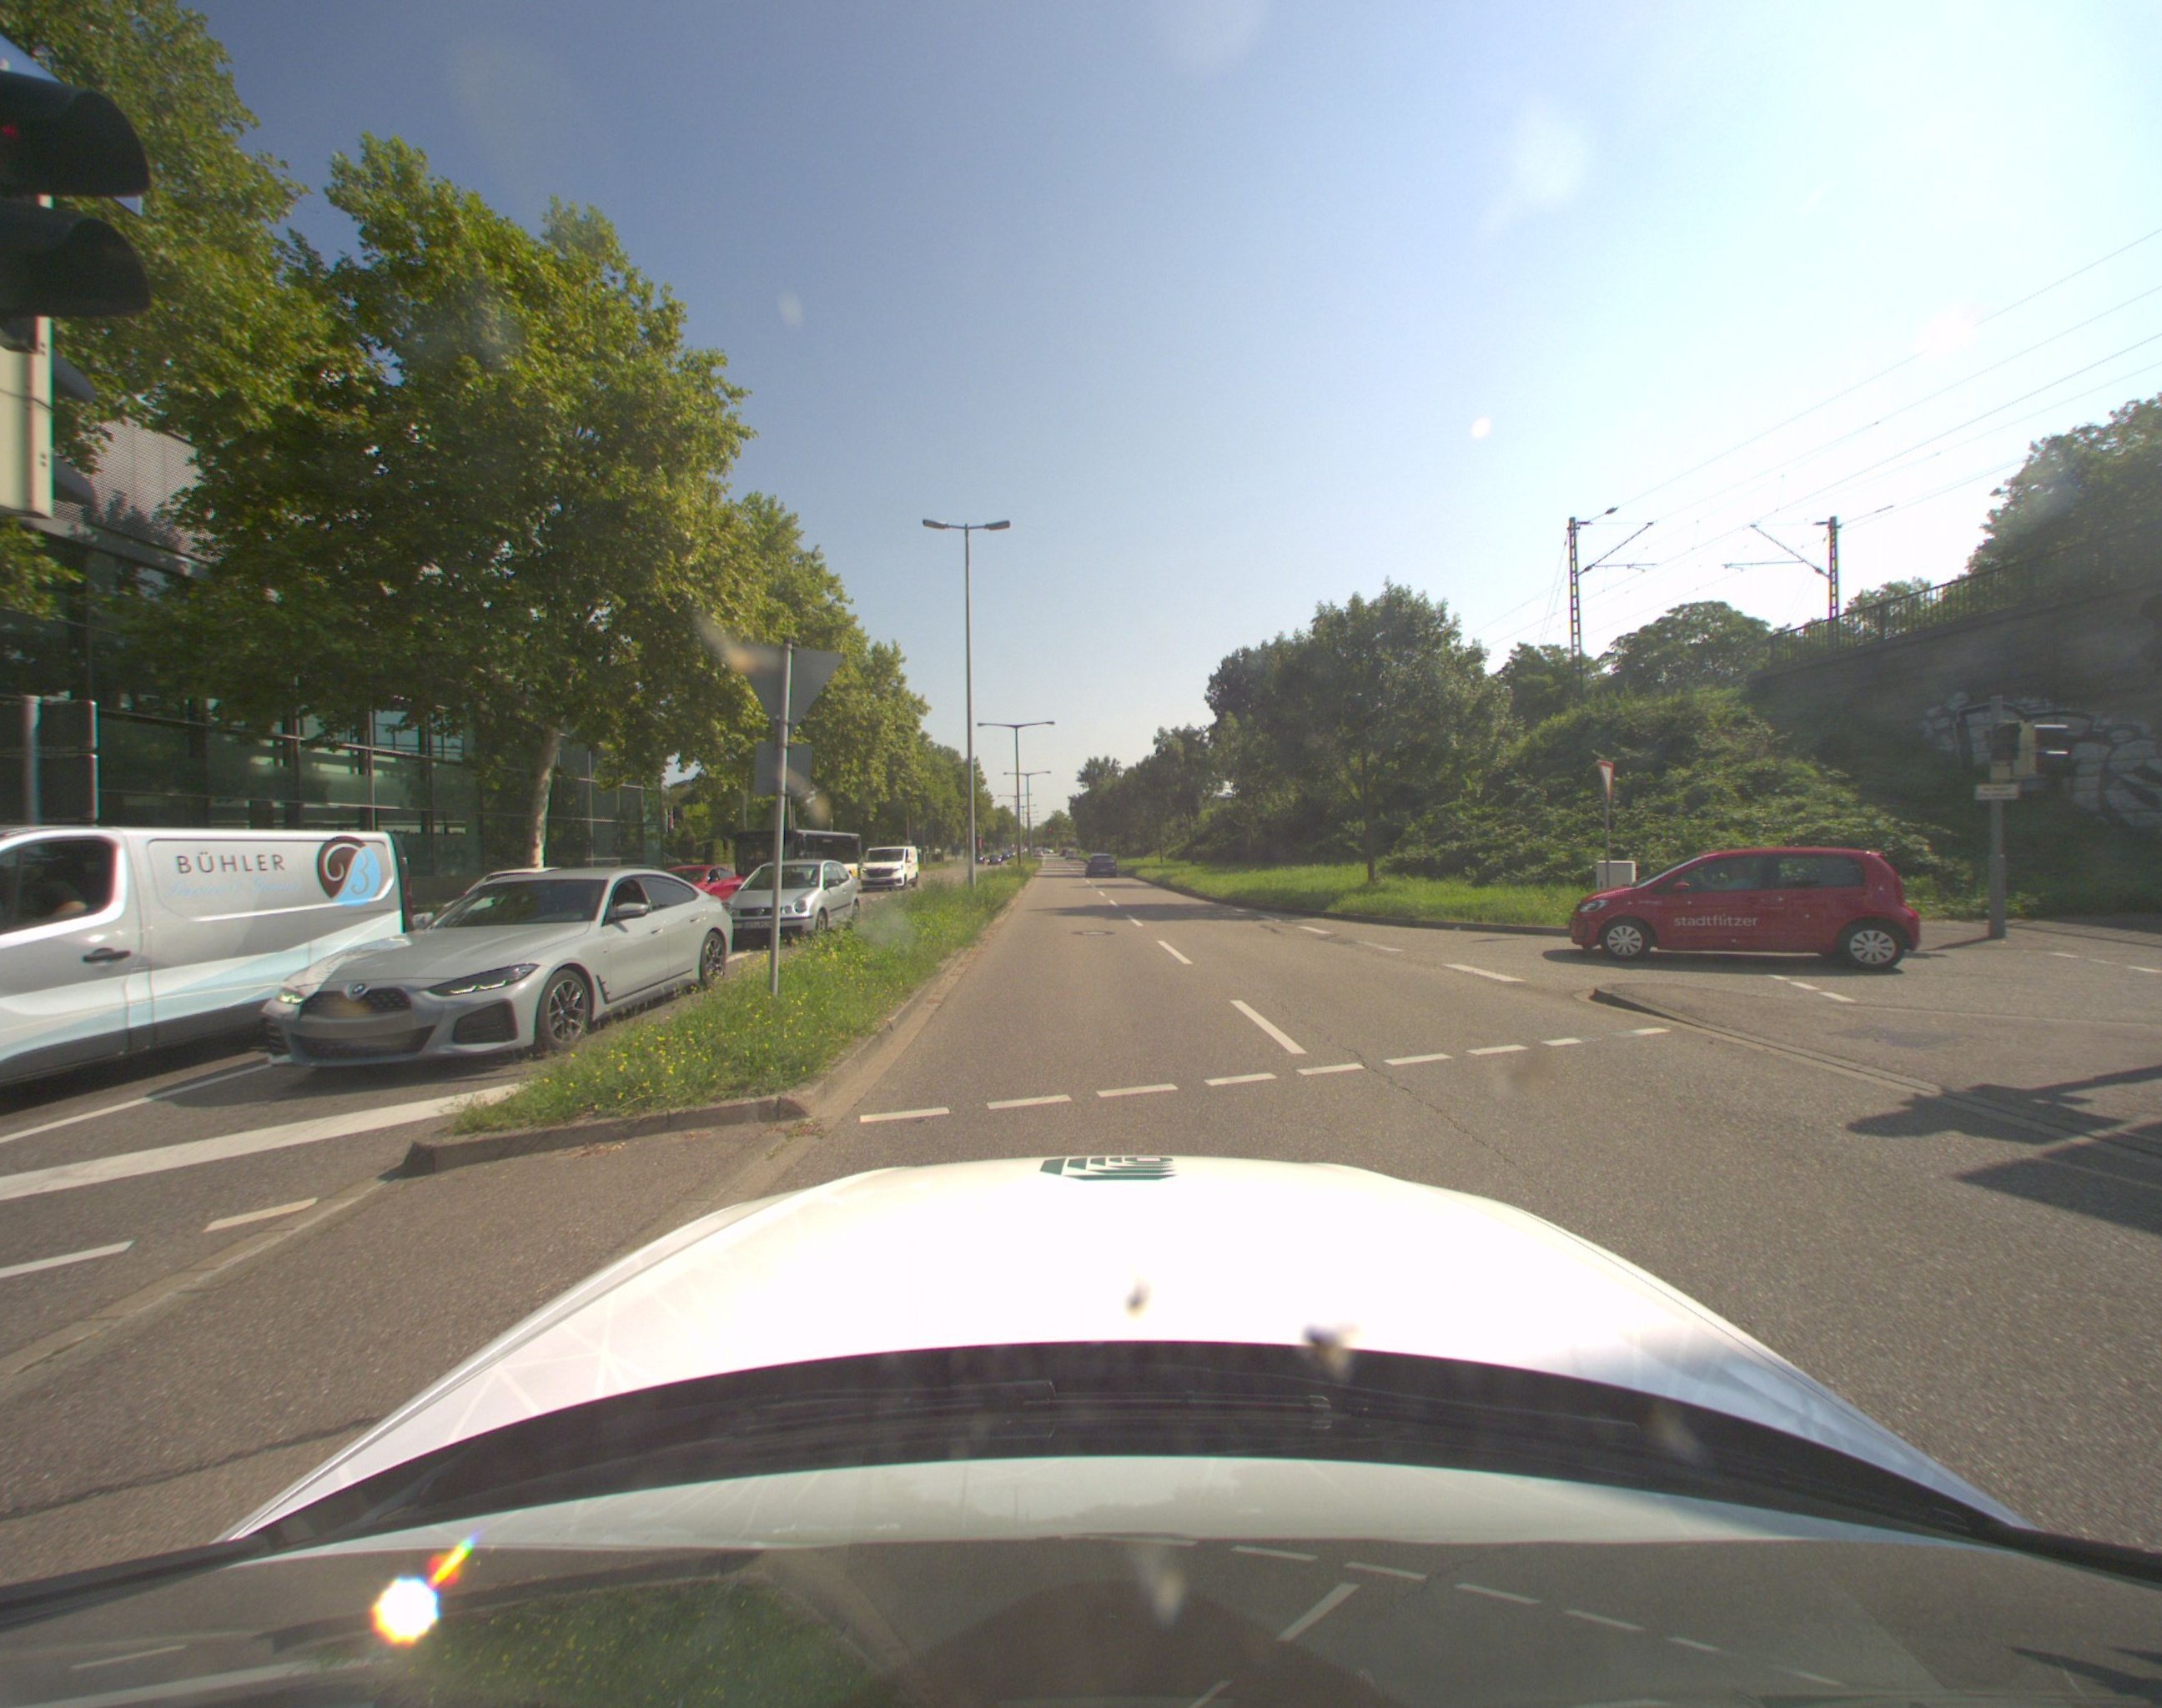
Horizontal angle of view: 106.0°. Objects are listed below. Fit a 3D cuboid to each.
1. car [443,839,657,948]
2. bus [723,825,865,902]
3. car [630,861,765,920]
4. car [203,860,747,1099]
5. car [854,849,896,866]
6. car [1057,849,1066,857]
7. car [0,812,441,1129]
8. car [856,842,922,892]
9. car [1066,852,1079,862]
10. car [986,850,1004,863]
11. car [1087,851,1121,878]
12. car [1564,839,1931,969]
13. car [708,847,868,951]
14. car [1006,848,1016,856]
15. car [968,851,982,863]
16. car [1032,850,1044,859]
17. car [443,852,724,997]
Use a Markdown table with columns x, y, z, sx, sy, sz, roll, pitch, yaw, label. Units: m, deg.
| x | y | z | sx | sy | sz | roll | pitch | yaw | label |
| --- | --- | --- | --- | --- | --- | --- | --- | --- | --- |
| -10.774 | 0.731 | 16.931 | 1.923 | 1.895 | 3.971 | -3 | 0 | -4 | car |
| -12.024 | 0.360 | 35.472 | 2.655 | 2.694 | 10.895 | -3 | 0 | -3 | bus |
| -11.480 | 1.017 | 24.828 | 1.775 | 1.511 | 5.207 | -3 | 0 | -3 | car |
| -4.981 | 0.848 | 7.755 | 1.831 | 1.443 | 4.601 | -3 | 0 | -3 | car |
| -30.245 | 0.517 | 119.602 | 5.574 | 2.336 | 2.276 | 0 | 2 | -5 | car |
| -4.520 | -0.232 | 186.898 | 1.989 | 1.654 | 3.995 | 1 | 0 | -4 | car |
| -7.717 | 0.725 | 6.086 | 1.923 | 1.957 | 5.206 | -2 | 1 | -4 | car |
| -8.624 | 0.511 | 36.991 | 1.923 | 1.960 | 5.184 | -3 | 1 | -3 | car |
| -1.482 | 0.511 | 139.445 | 1.989 | 1.654 | 3.996 | -2 | 0 | -3 | car |
| -10.919 | 0.265 | 103.566 | 1.841 | 1.489 | 4.640 | -3 | 0 | -2 | car |
| 1.367 | 0.592 | 49.791 | 1.776 | 1.427 | 3.997 | 0 | 3 | -3 | car |
| 8.472 | 0.600 | 10.789 | 3.508 | 1.467 | 1.654 | -1 | -1 | 29 | car |
| -5.261 | 0.706 | 15.216 | 1.610 | 1.535 | 4.097 | -3 | 1 | -3 | car |
| -14.203 | -0.397 | 165.750 | 1.990 | 1.585 | 4.340 | -1 | 0 | -4 | car |
| -15.050 | 0.497 | 115.509 | 1.844 | 1.605 | 4.599 | -1 | -1 | -7 | car |
| -8.623 | 0.069 | 164.851 | 1.986 | 1.702 | 4.002 | -2 | 0 | 2 | car |
| -7.726 | 0.947 | 13.313 | 1.713 | 1.848 | 4.700 | -3 | 0 | -2 | car |
